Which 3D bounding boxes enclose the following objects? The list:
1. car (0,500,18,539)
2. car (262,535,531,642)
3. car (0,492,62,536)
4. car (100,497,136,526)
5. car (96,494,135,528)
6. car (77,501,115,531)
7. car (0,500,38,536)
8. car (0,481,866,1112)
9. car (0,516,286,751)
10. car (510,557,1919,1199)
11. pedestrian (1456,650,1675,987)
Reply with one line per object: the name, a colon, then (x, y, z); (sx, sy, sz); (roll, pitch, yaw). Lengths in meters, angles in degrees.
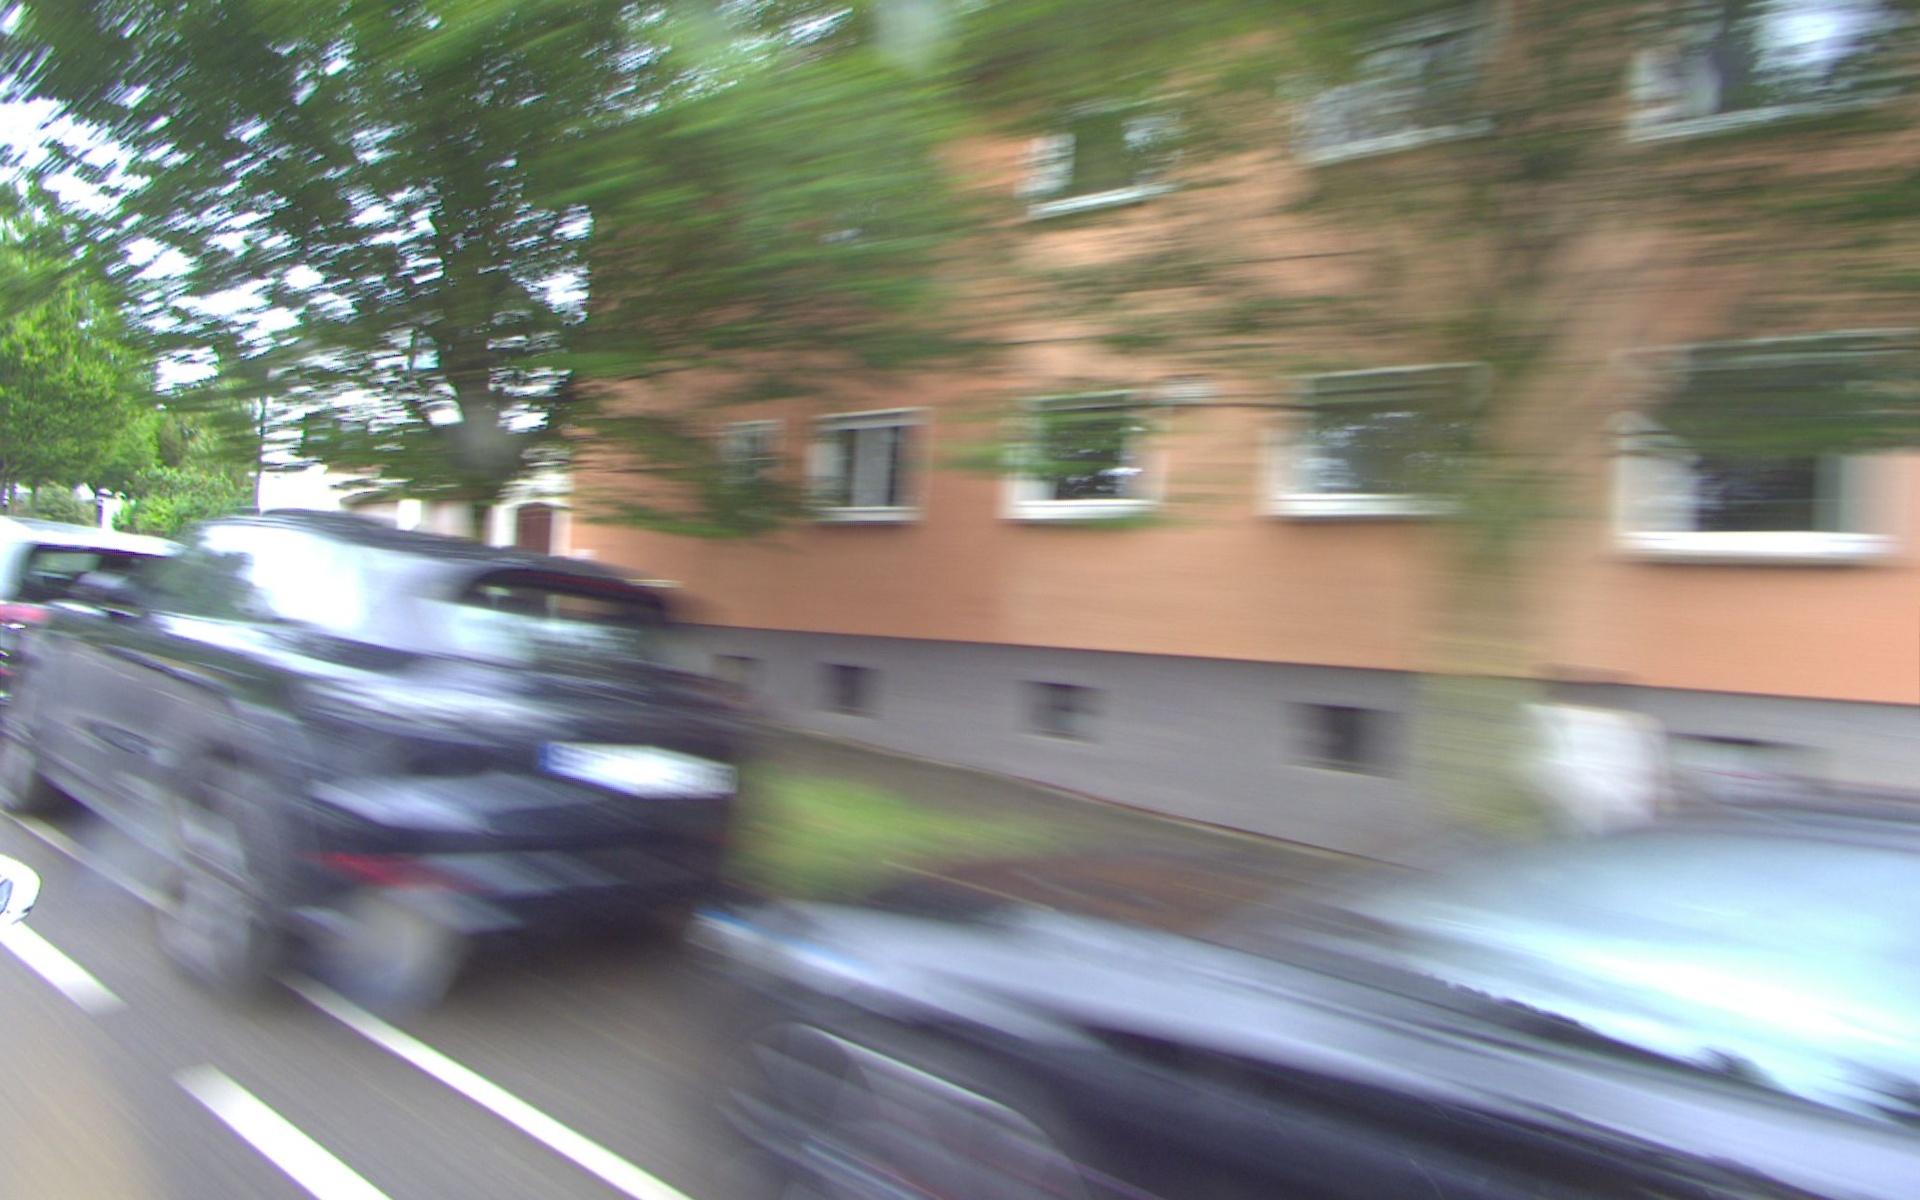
car: (-41.496, -3.540, 42.532); (1.706, 1.574, 4.123); (9, -2, -35)
car: (-11.346, -0.165, 20.470); (1.911, 1.480, 4.298); (3, -6, 44)
car: (-47.260, -4.331, 51.128); (1.768, 1.874, 4.382); (8, -1, -35)
car: (-69.475, -7.298, 83.105); (1.985, 2.076, 5.066); (7, -1, -39)
car: (-74.427, -7.812, 88.733); (2.165, 2.522, 5.970); (9, -1, -38)
car: (-62.051, -6.041, 72.309); (1.772, 1.805, 4.628); (7, 0, -39)
car: (-44.549, -3.873, 46.853); (1.639, 1.499, 3.983); (8, -1, -34)
car: (-3.146, 0.443, 5.112); (5.156, 1.676, 2.054); (6, -1, 37)
car: (-7.836, 0.088, 8.361); (4.976, 1.485, 1.865); (6, -4, 34)
car: (1.480, 0.987, 2.158); (4.774, 1.600, 1.859); (6, -1, 29)
pedestrian: (3.576, 1.221, 6.015); (0.887, 1.743, 0.761); (7, 2, 29)
